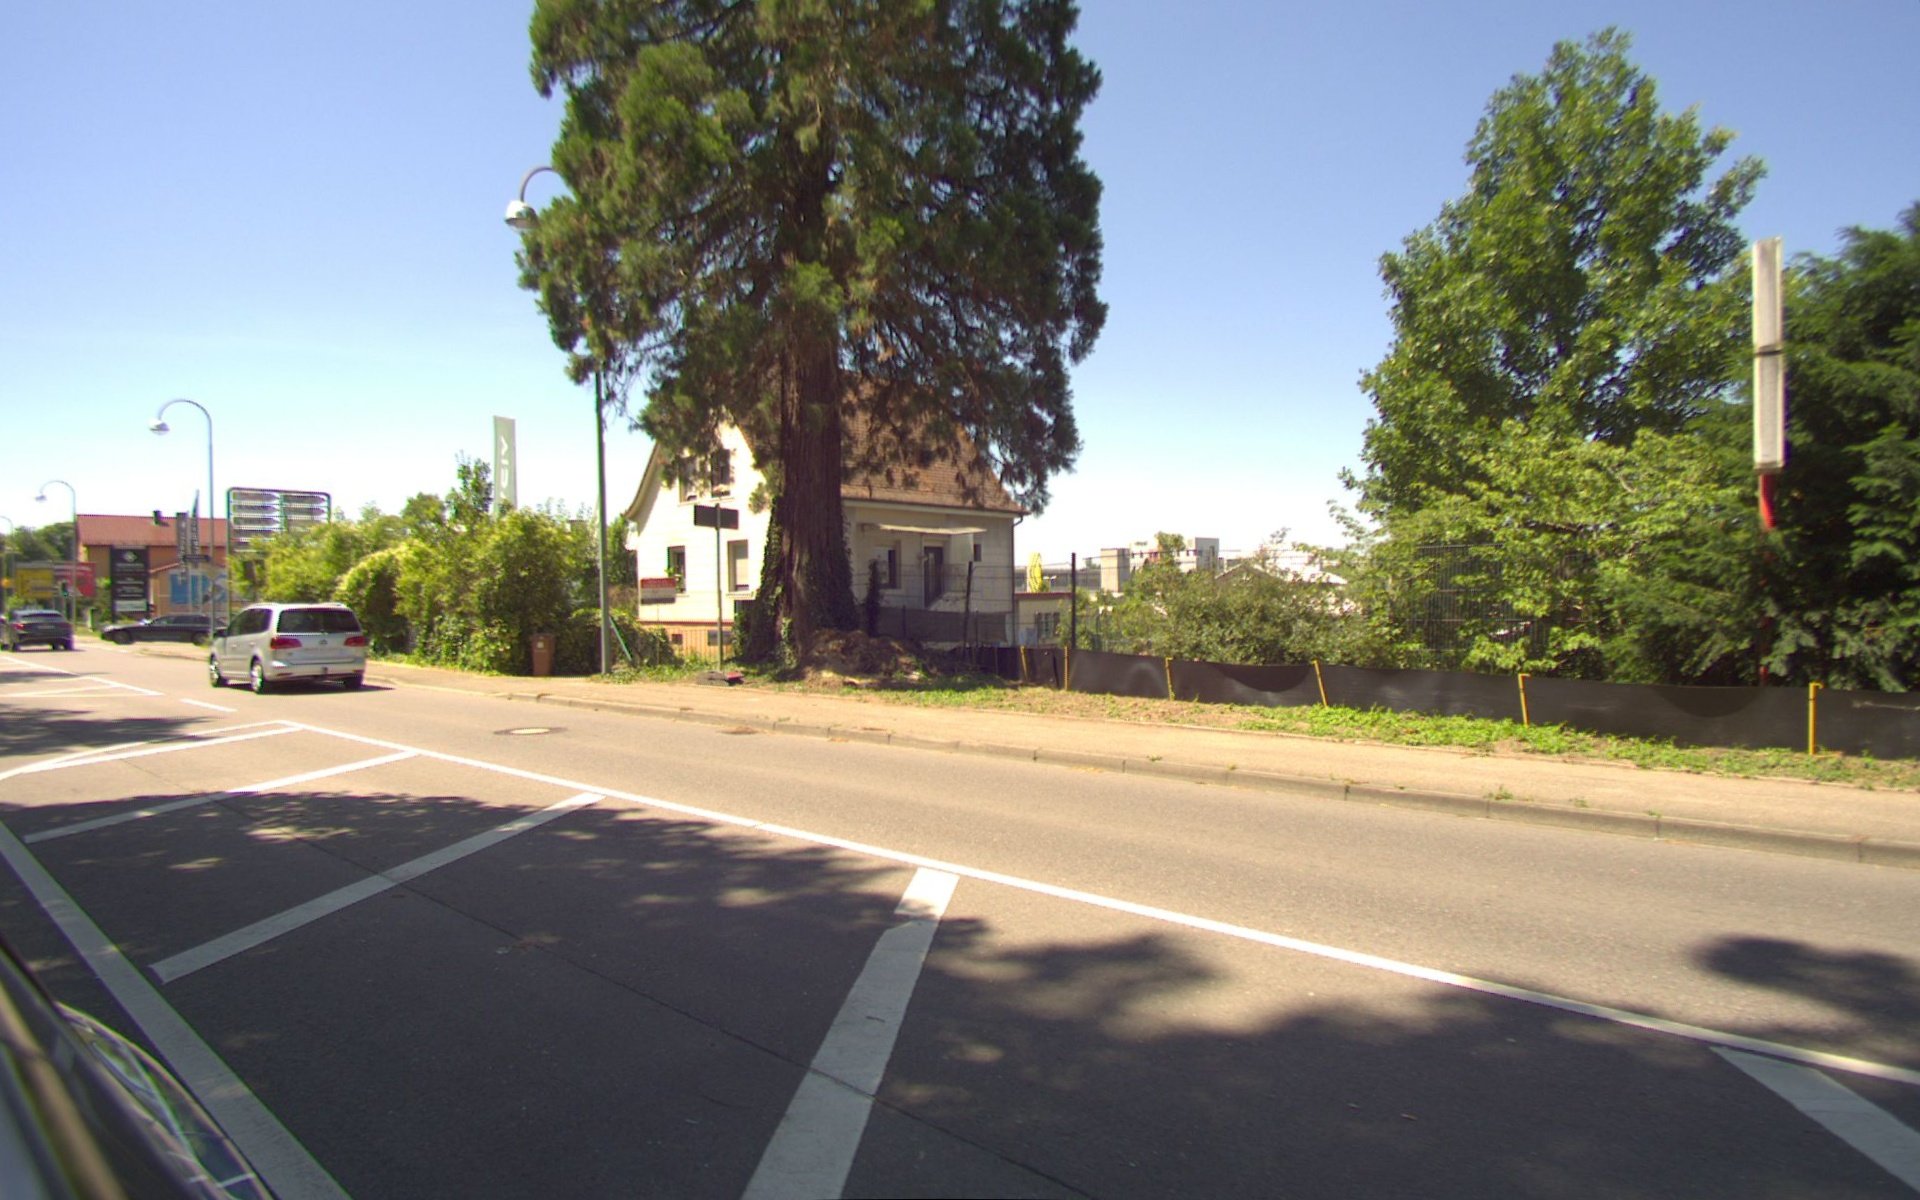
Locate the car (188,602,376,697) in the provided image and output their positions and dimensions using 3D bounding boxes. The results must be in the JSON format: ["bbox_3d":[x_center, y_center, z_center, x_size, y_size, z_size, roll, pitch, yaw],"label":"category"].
[{"bbox_3d":[-13.371,0.903,19.841,4.684,1.657,1.765,-1,-2,39],"label":"car"}]

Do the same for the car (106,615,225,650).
[{"bbox_3d":[-37.761,1.513,48.234,4.247,1.561,1.891,0,0,-31],"label":"car"}]

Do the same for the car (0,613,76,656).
[{"bbox_3d":[-35.854,1.296,39.160,4.317,1.561,1.860,-1,0,40],"label":"car"}]
